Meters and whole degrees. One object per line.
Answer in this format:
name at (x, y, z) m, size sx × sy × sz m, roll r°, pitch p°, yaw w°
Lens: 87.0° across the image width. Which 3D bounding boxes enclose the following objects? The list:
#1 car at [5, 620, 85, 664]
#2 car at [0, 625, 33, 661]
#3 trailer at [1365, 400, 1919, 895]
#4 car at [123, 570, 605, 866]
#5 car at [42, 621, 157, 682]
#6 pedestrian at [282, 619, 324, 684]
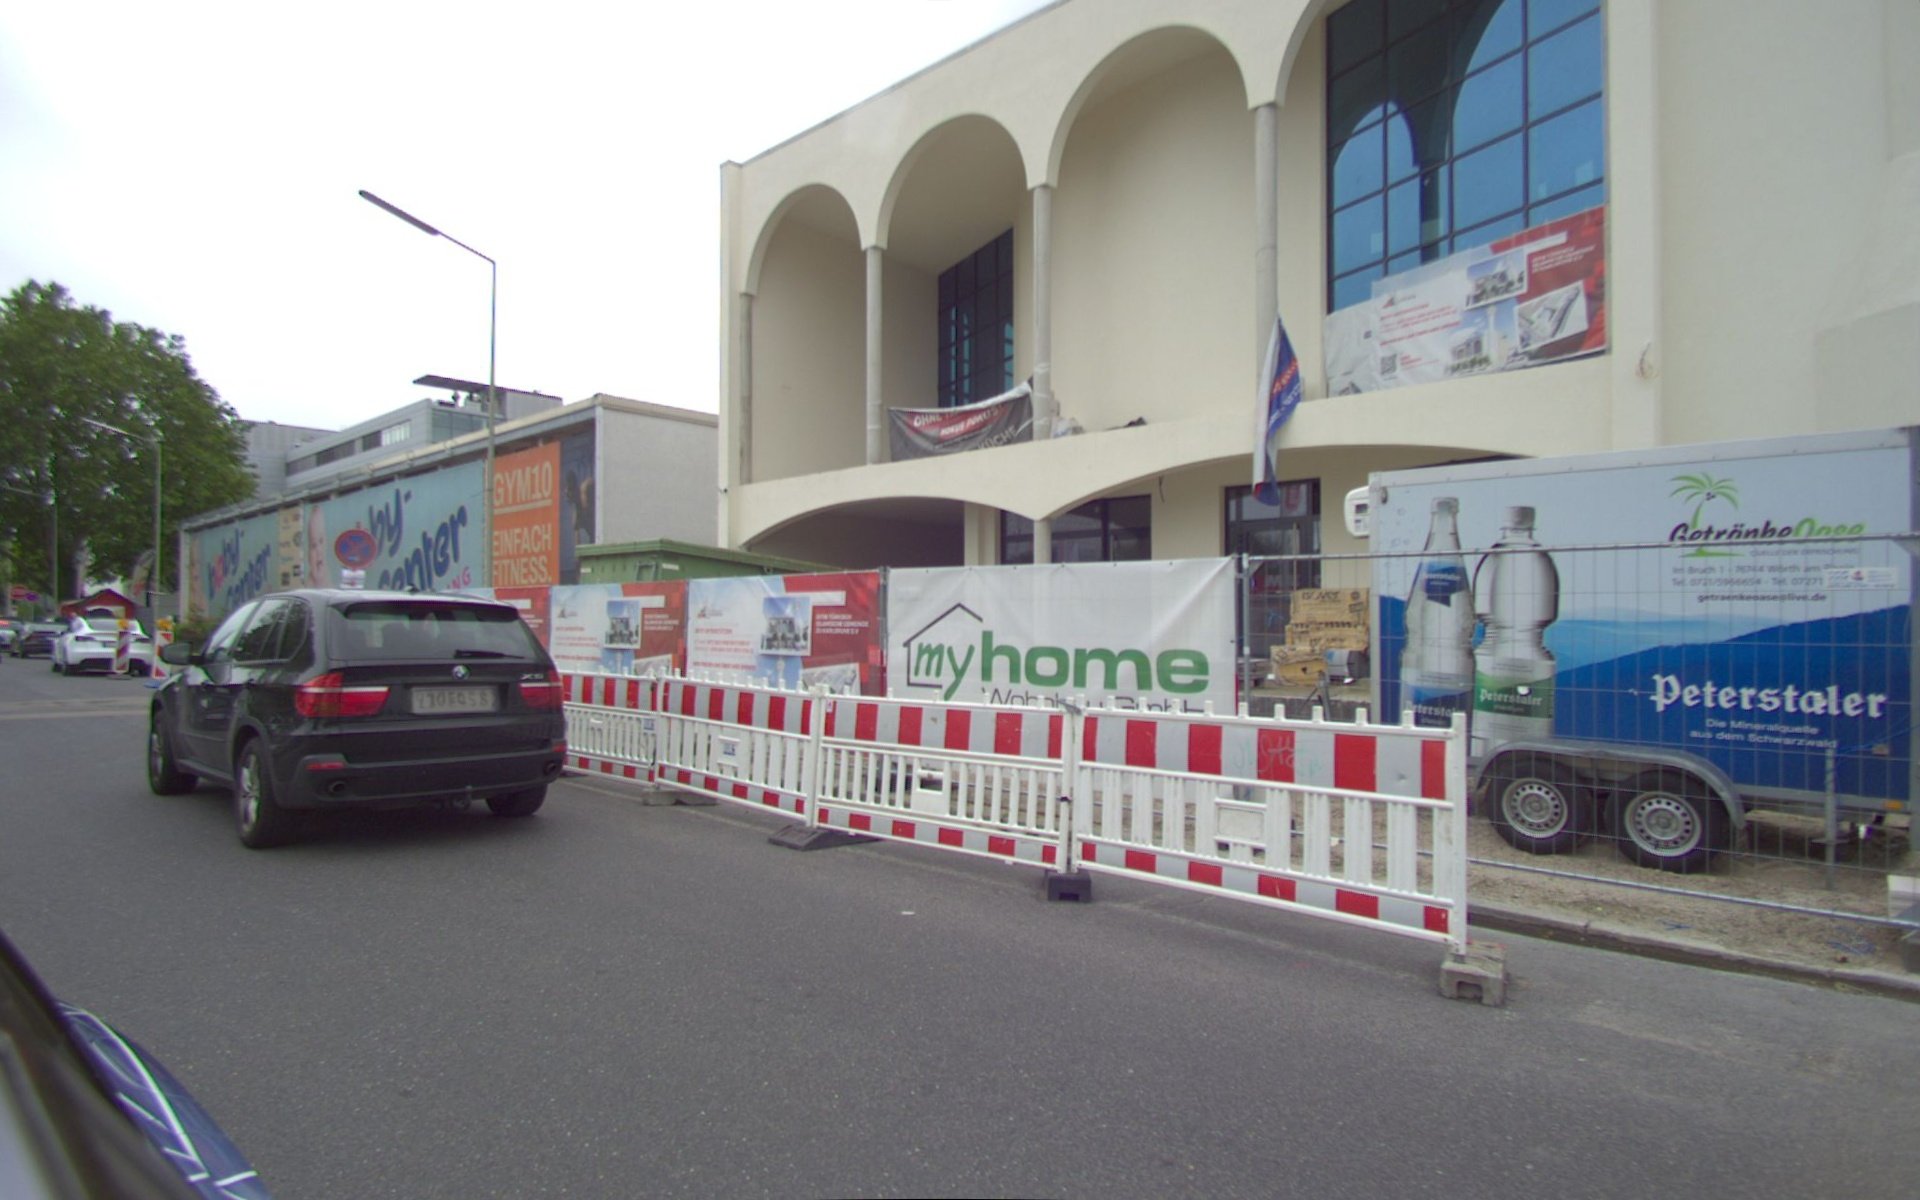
car at (-35.835, 1.636, 39.612) m, size 4.149 × 1.586 × 1.903 m, roll -1°, pitch -5°, yaw 43°
car at (-44.159, 1.933, 46.503) m, size 4.149 × 1.586 × 1.903 m, roll -1°, pitch -5°, yaw 43°
trailer at (4.751, 0.291, 6.985) m, size 1.777 × 2.626 × 3.193 m, roll 2°, pitch -2°, yaw -45°
car at (-4.926, 0.756, 8.039) m, size 4.653 × 1.674 × 1.938 m, roll -1°, pitch -4°, yaw 42°
car at (-24.250, 1.433, 28.470) m, size 4.149 × 1.586 × 1.903 m, roll -1°, pitch -5°, yaw 43°
pedestrian at (-16.550, 1.275, 25.499) m, size 0.782 × 1.591 × 0.603 m, roll -1°, pitch 0°, yaw -41°
